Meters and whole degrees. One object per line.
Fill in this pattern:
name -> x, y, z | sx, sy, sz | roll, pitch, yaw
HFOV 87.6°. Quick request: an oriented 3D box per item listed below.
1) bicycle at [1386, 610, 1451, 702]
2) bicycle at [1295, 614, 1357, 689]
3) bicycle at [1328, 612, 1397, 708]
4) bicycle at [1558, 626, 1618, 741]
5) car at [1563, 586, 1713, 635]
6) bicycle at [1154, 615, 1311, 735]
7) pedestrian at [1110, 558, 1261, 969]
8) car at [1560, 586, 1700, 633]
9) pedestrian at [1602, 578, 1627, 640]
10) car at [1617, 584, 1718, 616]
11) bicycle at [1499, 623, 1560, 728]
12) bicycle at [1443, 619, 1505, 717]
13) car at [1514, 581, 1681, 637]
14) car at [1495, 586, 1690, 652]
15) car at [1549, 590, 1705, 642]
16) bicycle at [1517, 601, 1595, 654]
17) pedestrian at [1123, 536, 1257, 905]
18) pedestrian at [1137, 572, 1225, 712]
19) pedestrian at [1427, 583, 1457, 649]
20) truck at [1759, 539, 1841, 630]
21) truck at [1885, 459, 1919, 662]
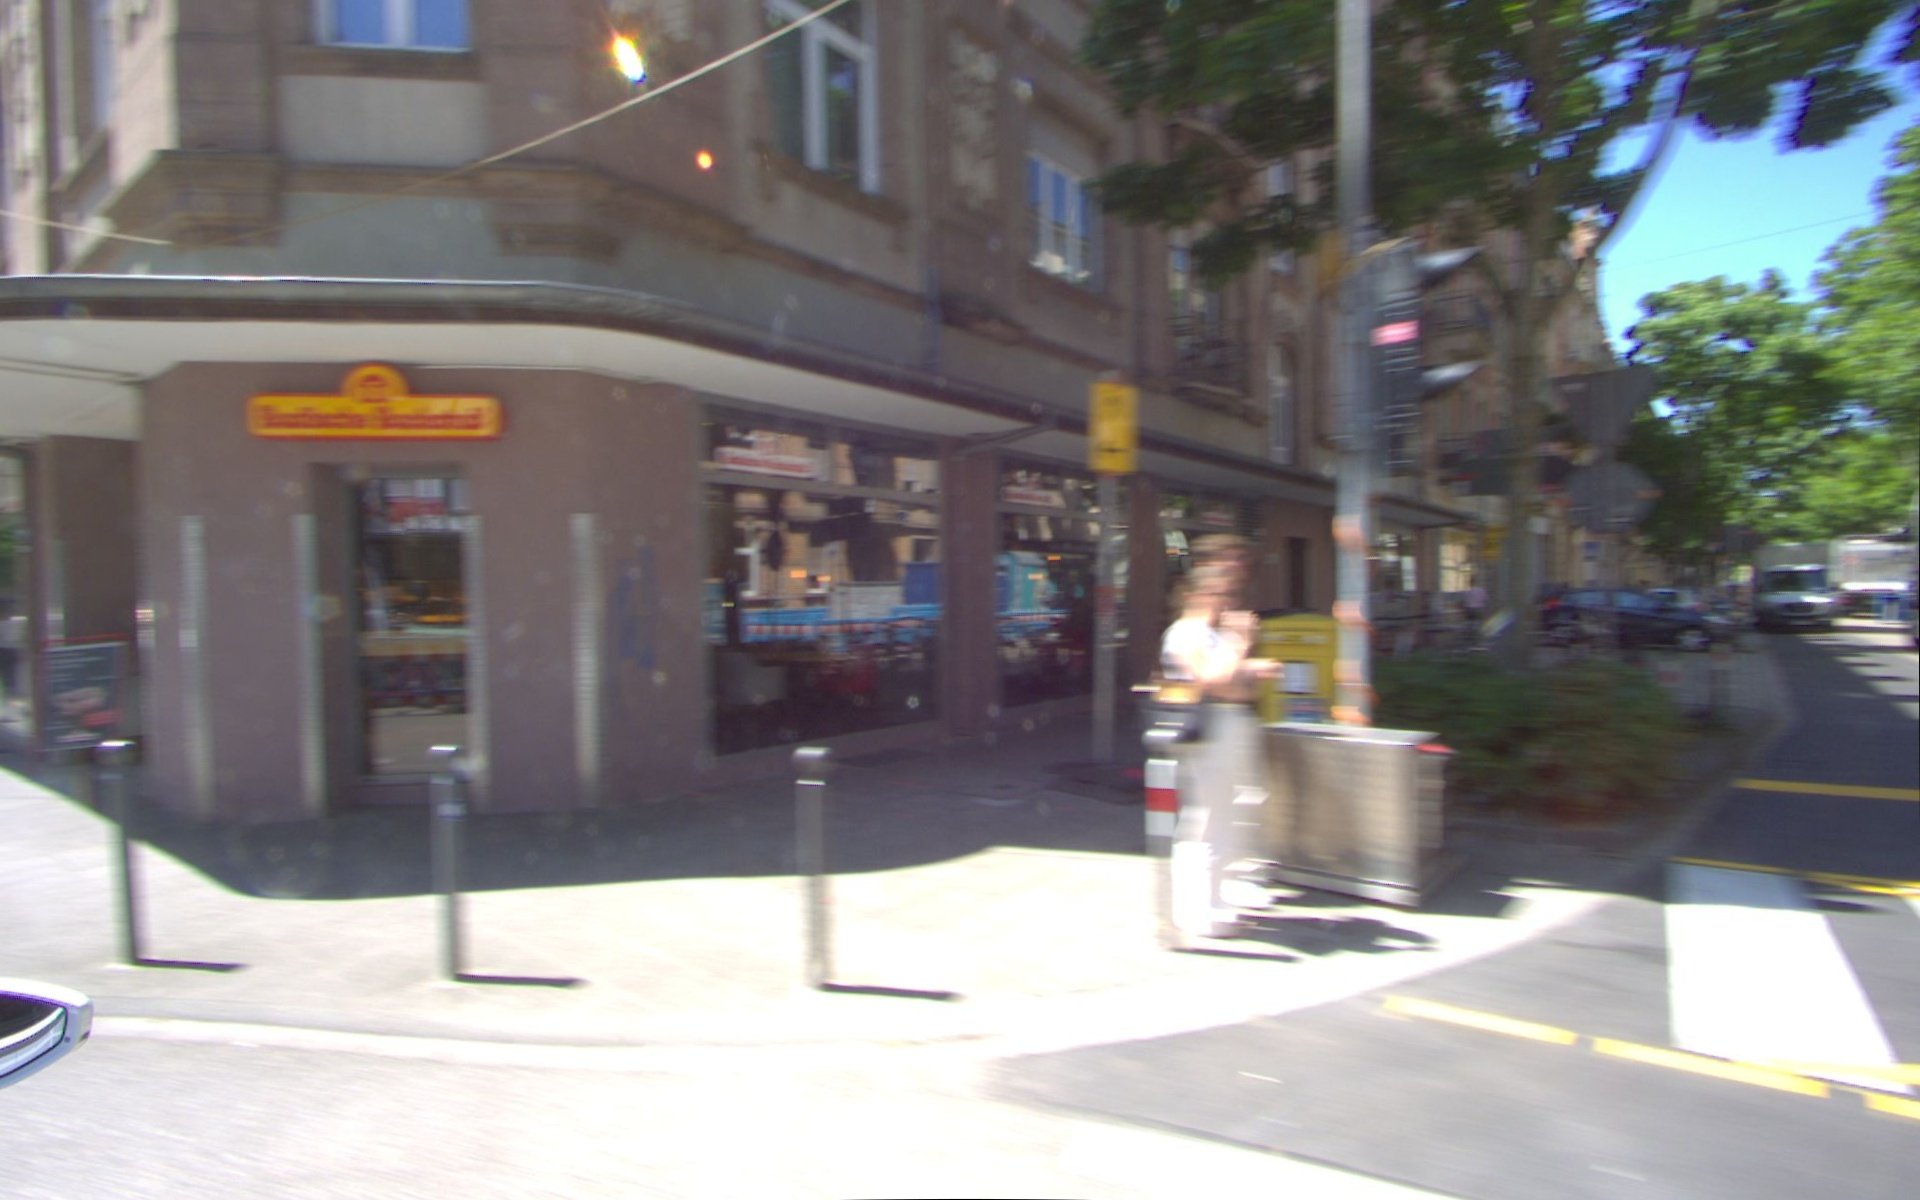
bicycle -> 5.739, 0.662, 12.492 | 0.464, 1.010, 1.755 | 2, 2, 33
bicycle -> 5.576, 0.745, 15.199 | 0.497, 1.010, 1.719 | 2, 2, 33
bicycle -> 5.194, 0.727, 12.863 | 0.464, 1.095, 1.755 | 2, 2, 33
bicycle -> 6.553, 0.820, 10.432 | 0.464, 1.010, 1.755 | 2, 2, 33
car -> 21.338, 0.289, 31.636 | 3.801, 1.458, 1.781 | 1, 2, 35
bicycle -> 2.964, 0.759, 10.792 | 1.961, 1.147, 0.513 | -1, 1, -36
pedestrian -> 1.013, 0.657, 4.449 | 0.416, 1.669, 0.700 | 4, 4, 29
car -> 22.400, 0.280, 33.602 | 3.801, 1.458, 1.781 | 1, 2, 35
pedestrian -> 17.325, 0.236, 26.497 | 0.536, 1.604, 0.475 | 0, 2, 35
car -> 33.882, 0.024, 48.076 | 3.878, 1.483, 1.608 | -1, 1, 35
bicycle -> 6.397, 0.802, 11.209 | 0.464, 1.010, 1.755 | 2, 2, 33
bicycle -> 6.158, 0.770, 11.963 | 0.464, 1.019, 1.679 | 2, 2, 33
car -> 17.745, 0.208, 27.973 | 3.801, 1.458, 1.781 | 1, 2, 35
car -> 15.100, 0.393, 24.020 | 3.801, 1.458, 1.781 | 1, 2, 35
car -> 19.984, 0.429, 30.112 | 3.801, 1.458, 1.781 | 1, 2, 35
bicycle -> 12.947, 0.579, 21.807 | 0.533, 1.060, 1.937 | -1, 1, 0
pedestrian -> 1.204, 0.581, 5.217 | 0.464, 1.793, 0.574 | 4, 3, 29
pedestrian -> 2.739, 0.490, 12.392 | 0.777, 1.656, 0.853 | 0, 2, 36
pedestrian -> 12.056, 0.394, 25.055 | 0.553, 1.636, 0.488 | 1, 2, 42
truck -> 28.482, -0.506, 34.071 | 1.975, 2.895, 4.237 | 0, 1, 38
truck -> 21.102, -0.812, 20.878 | 2.260, 4.008, 4.444 | 0, 1, 38
